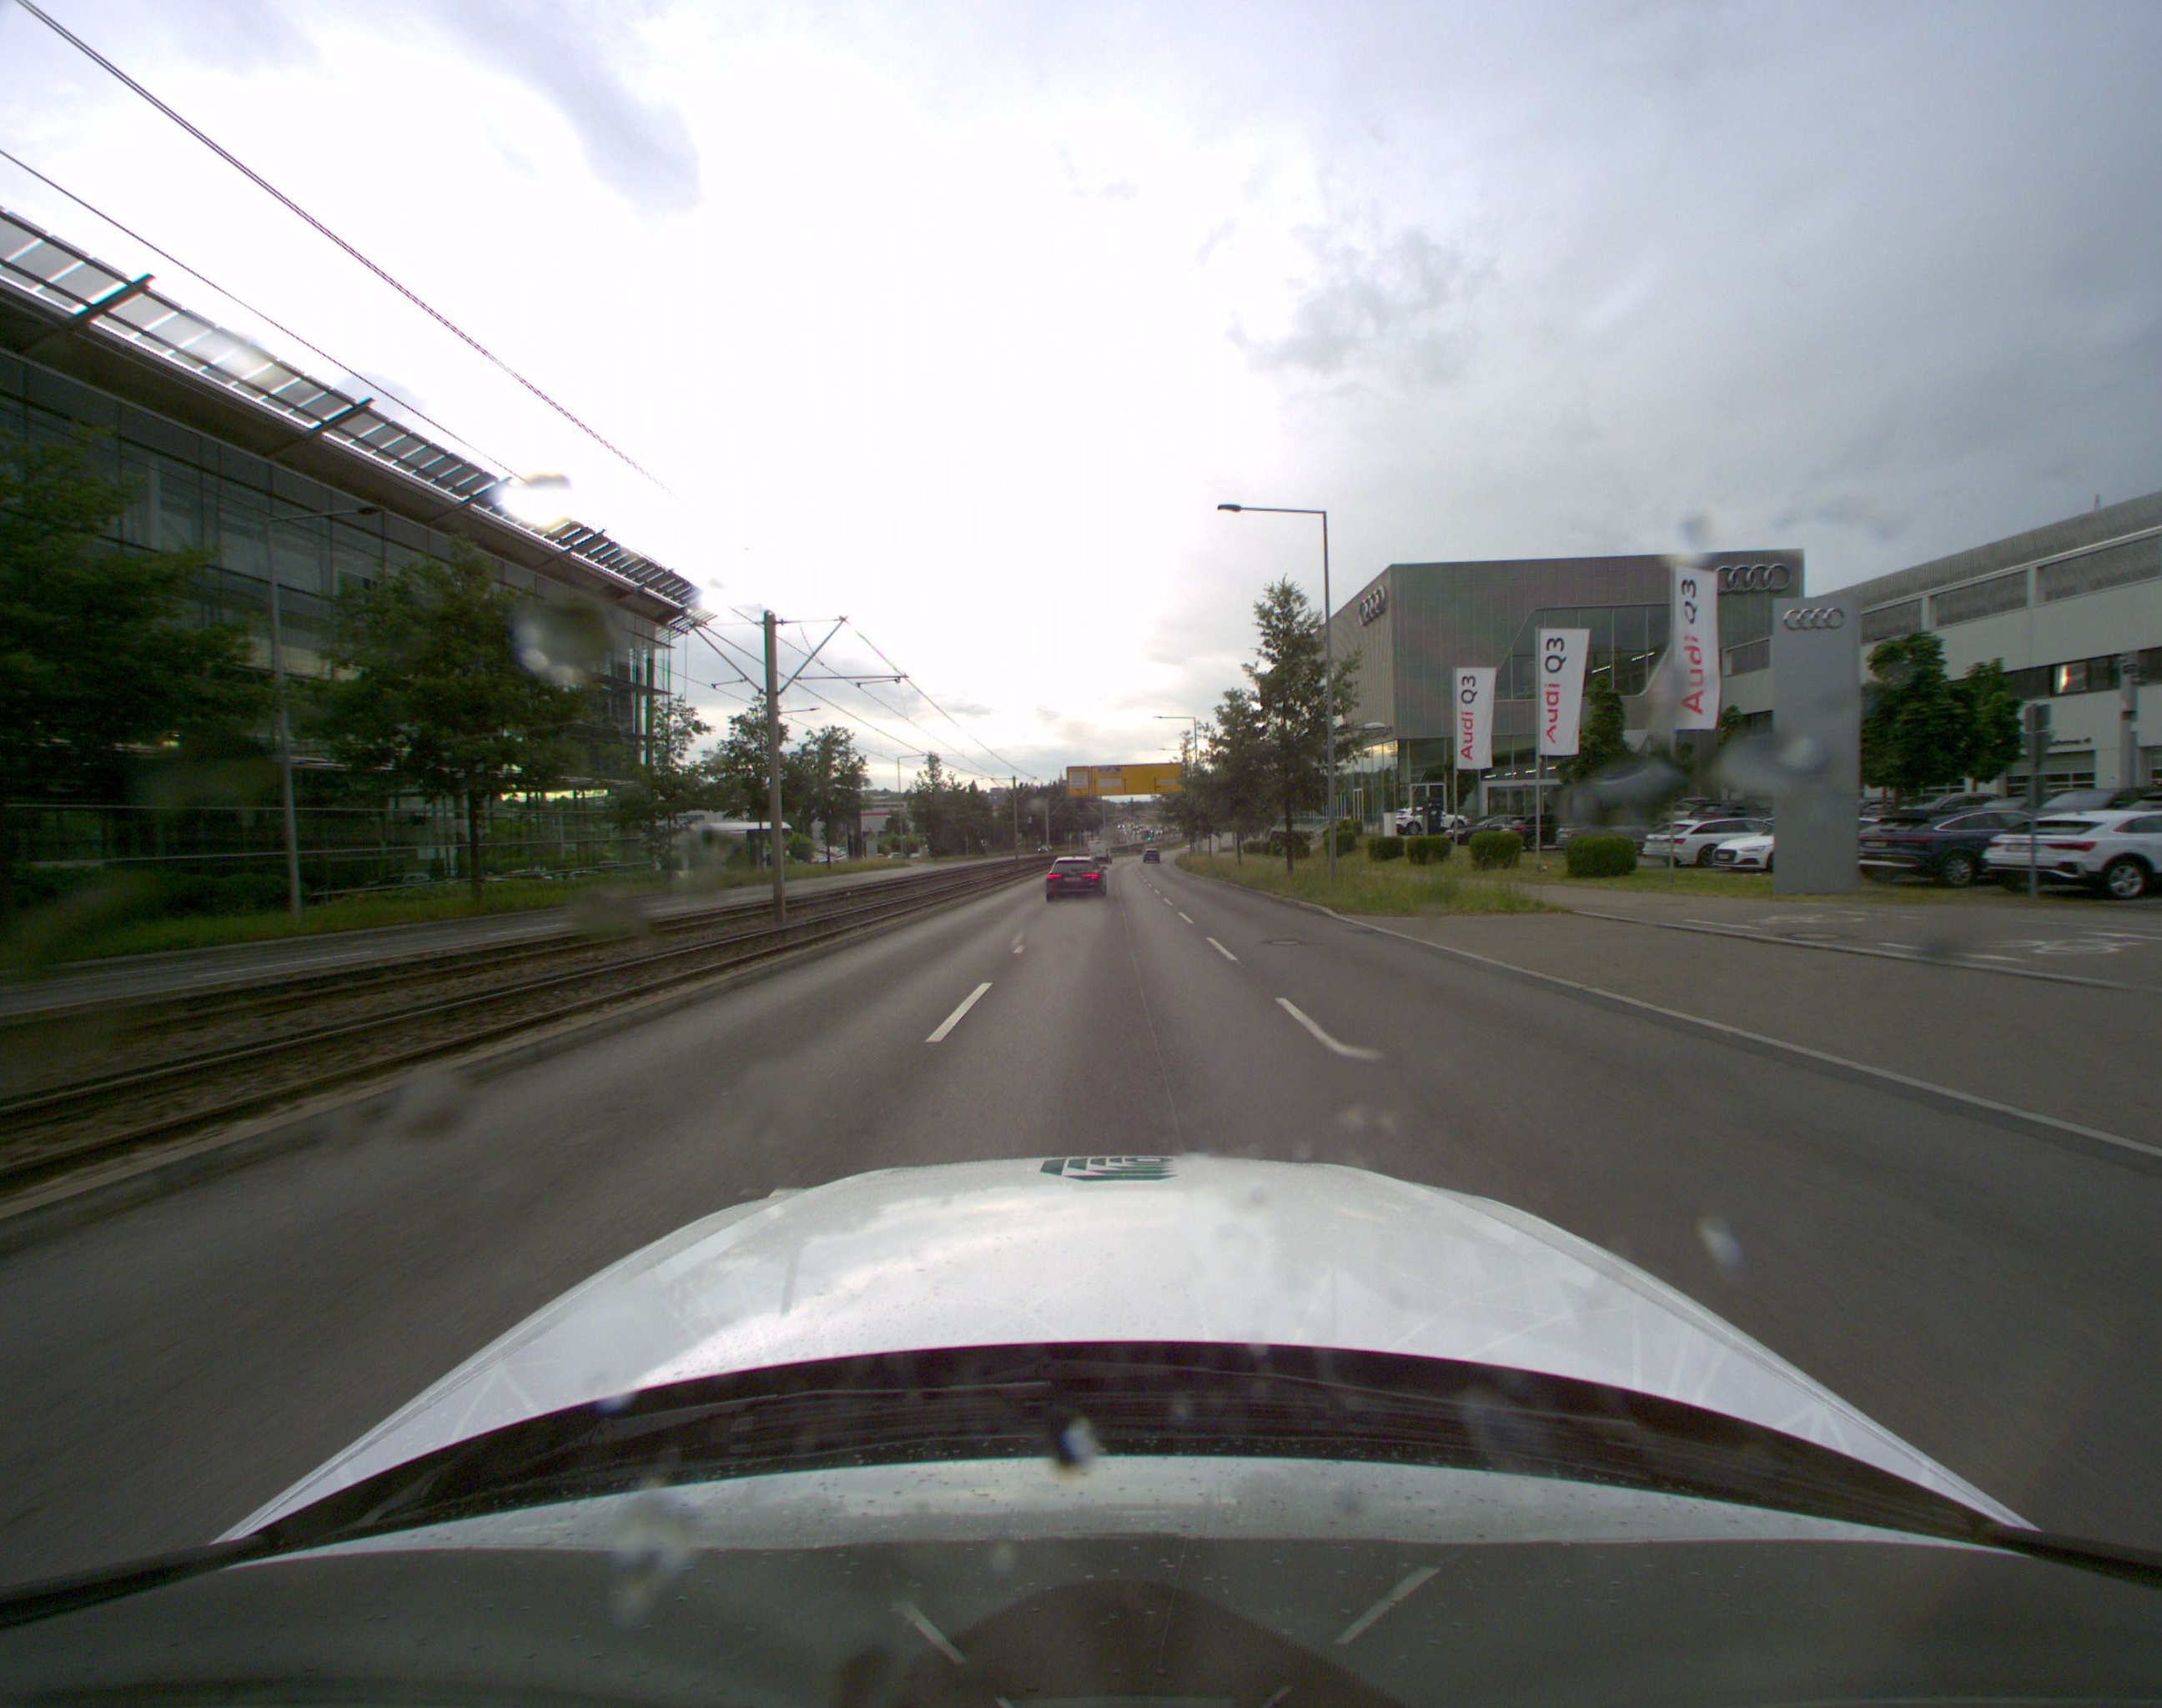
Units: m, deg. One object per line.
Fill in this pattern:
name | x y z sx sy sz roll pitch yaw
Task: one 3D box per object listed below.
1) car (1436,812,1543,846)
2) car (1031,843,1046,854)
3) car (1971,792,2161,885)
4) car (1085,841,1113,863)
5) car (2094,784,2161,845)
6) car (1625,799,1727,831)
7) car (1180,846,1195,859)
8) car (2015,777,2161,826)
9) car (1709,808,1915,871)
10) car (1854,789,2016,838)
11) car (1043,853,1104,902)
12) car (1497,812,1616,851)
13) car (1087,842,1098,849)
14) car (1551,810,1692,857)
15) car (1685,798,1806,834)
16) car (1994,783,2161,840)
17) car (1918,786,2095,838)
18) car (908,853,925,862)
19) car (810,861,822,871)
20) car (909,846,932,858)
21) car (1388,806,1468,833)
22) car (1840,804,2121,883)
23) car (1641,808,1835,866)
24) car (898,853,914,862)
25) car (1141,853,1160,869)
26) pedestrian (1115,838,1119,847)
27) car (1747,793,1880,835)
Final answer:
car | 20.064 -1.220 40.089 4.405 1.574 1.693 -1 1 0
car | -7.117 -0.941 137.872 1.874 1.520 4.409 -4 1 5
car | 19.638 -0.271 15.260 4.101 1.594 1.944 -1 -1 -7
car | 1.842 -0.219 83.266 2.499 2.177 5.156 0 -1 5
car | 30.553 -1.094 22.044 4.091 1.574 1.692 -1 -1 0
car | 31.115 -2.032 42.658 4.091 1.574 1.693 -1 1 0
car | 15.951 -0.209 121.859 2.012 1.769 4.007 -1 3 5
car | 36.766 -1.887 29.434 4.092 1.574 1.692 -2 0 0
car | 19.865 -0.377 22.243 4.091 1.594 1.692 -1 -1 0
car | 31.080 -1.467 29.723 4.091 1.574 1.693 -2 -1 1
car | -0.168 0.721 27.251 1.757 1.463 4.630 -1 0 3
car | 20.213 -0.967 34.746 4.091 1.574 1.693 -1 1 0
car | 2.670 -2.036 192.767 1.981 1.679 4.011 0 1 9
car | 19.836 -0.757 30.006 4.091 1.608 1.693 -1 1 0
car | 30.437 -1.720 37.390 4.091 1.574 1.826 -1 1 0
car | 30.603 -1.269 24.616 4.091 1.574 1.693 -1 0 0
car | 31.274 -1.390 27.603 4.091 1.574 1.693 -2 1 0
car | -26.420 0.551 130.763 2.002 1.510 3.969 0 -1 -23
car | -40.534 1.849 124.424 1.757 1.494 3.974 0 -1 -19
car | -22.760 -0.206 115.622 1.983 1.650 4.008 0 -1 7
car | 21.360 -2.099 50.256 4.244 1.574 1.693 -1 1 0
car | 19.532 -0.221 17.826 4.091 1.594 1.871 -1 0 0
car | 19.898 -0.498 24.794 4.504 1.594 1.692 -1 -1 0
car | -30.597 0.653 142.091 2.002 1.510 3.969 0 -1 -23
car | 7.437 0.748 86.601 2.011 1.623 4.006 0 -1 5
pedestrian | 7.297 -2.327 166.490 0.632 1.854 0.753 0 -1 14
car | 30.919 -1.670 34.451 4.091 1.574 1.693 -2 1 0
